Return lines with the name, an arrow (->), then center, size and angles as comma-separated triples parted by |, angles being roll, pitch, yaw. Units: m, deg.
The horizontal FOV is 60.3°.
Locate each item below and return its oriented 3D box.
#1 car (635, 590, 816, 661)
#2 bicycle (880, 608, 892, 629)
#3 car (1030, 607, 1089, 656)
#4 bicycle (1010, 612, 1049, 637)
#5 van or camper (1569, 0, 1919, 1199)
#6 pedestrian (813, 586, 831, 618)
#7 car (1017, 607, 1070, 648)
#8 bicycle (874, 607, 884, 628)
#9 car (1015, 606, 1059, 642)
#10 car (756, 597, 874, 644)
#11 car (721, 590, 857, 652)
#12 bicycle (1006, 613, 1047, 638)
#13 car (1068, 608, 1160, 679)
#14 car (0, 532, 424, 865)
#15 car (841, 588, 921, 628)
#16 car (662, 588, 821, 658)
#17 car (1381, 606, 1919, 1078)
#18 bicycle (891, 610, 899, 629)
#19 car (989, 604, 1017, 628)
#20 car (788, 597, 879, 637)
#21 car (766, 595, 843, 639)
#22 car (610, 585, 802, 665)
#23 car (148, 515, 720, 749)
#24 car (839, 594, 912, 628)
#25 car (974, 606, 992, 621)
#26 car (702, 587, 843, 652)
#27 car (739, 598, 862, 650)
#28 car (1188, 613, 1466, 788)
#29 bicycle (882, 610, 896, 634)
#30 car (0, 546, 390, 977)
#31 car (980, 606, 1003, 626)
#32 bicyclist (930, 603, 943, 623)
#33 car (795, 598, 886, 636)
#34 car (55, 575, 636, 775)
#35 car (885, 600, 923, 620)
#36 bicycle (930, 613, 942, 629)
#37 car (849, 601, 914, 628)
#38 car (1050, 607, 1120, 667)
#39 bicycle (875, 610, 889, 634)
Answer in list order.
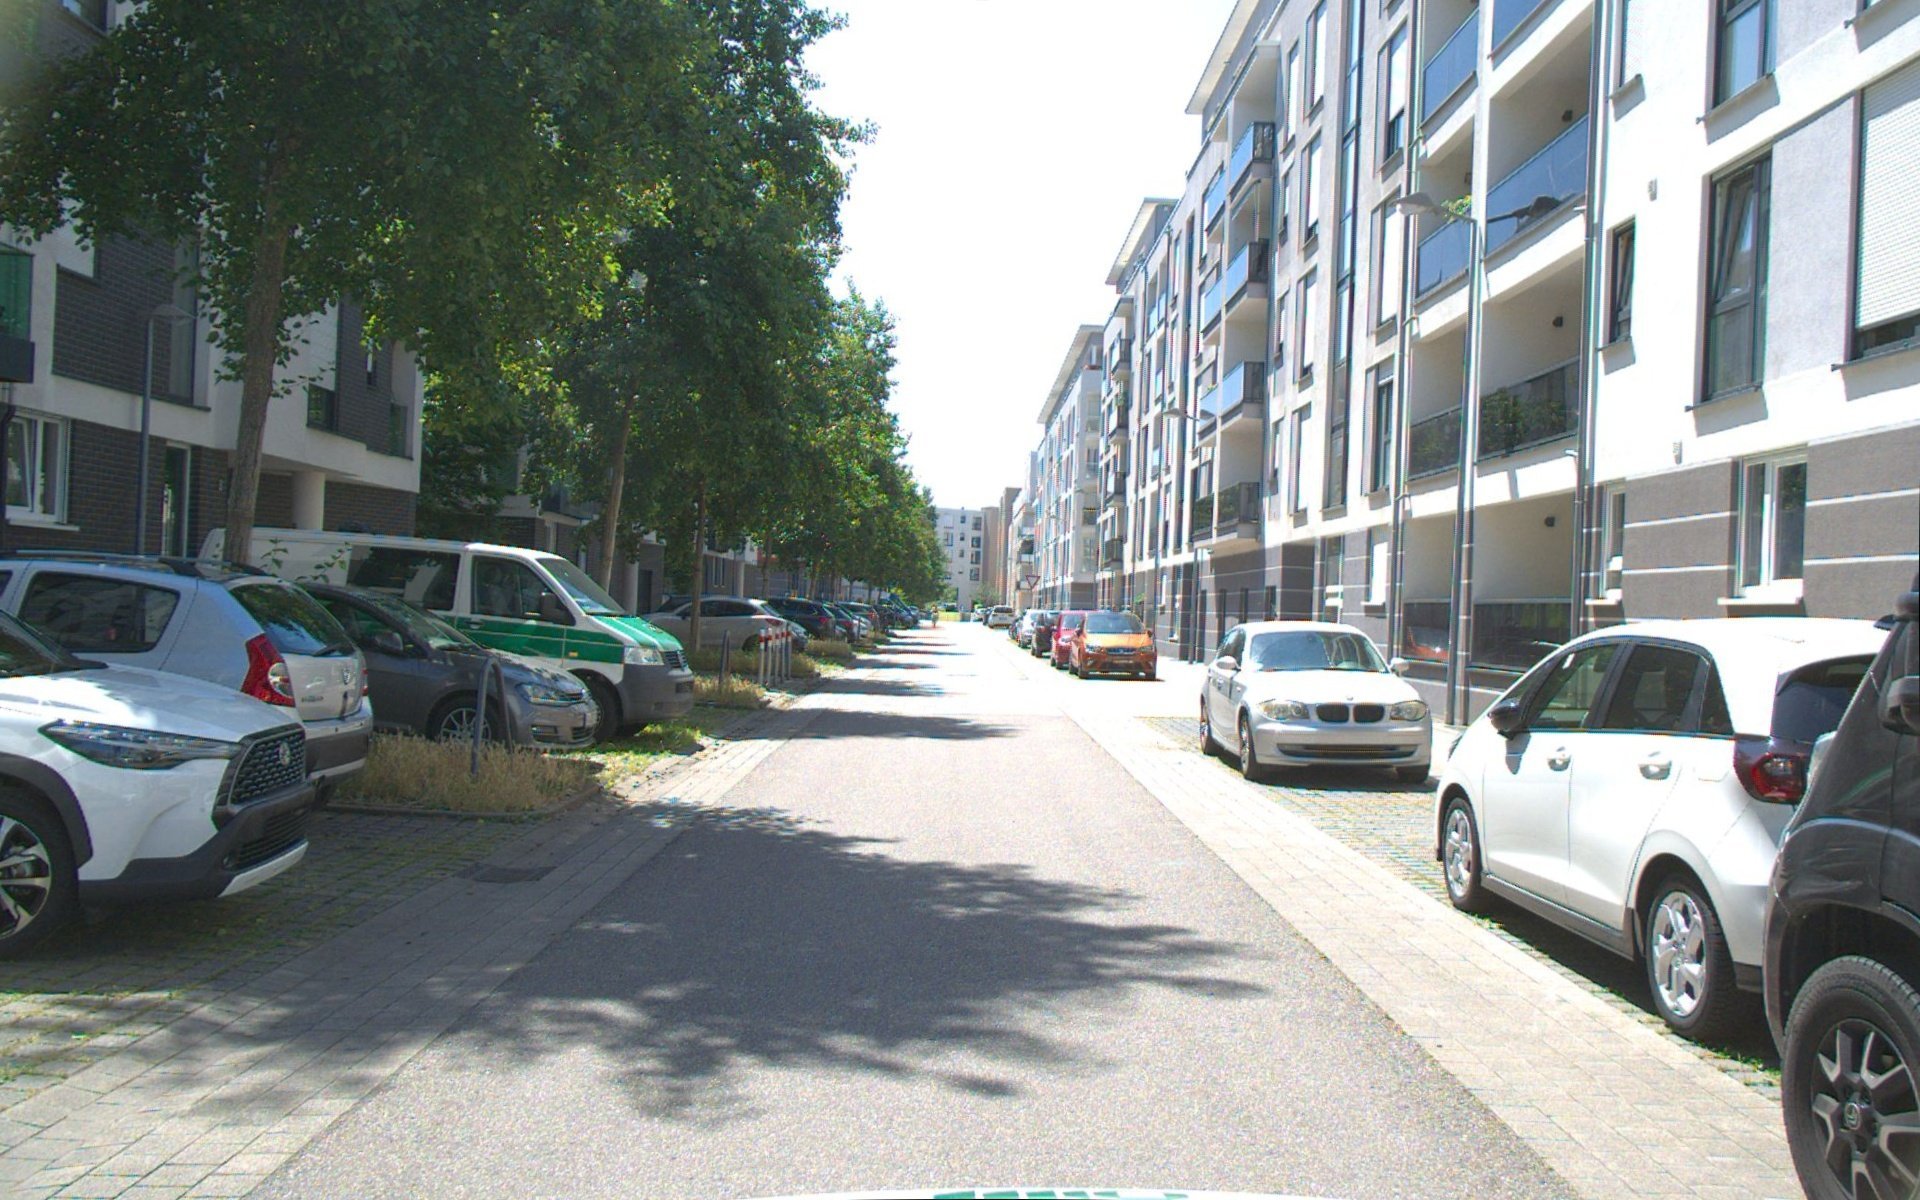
car -> -5.864, 0.629, 41.757 | 4.229, 1.501, 1.792 | 4, 0, -1
bicycle -> -4.605, 1.149, 102.814 | 0.559, 1.194, 1.766 | 5, 1, -7
car -> 3.153, 0.988, 53.032 | 1.609, 1.488, 4.117 | 0, 0, -1
bicycle -> 3.311, 1.190, 79.069 | 1.806, 1.168, 0.458 | 1, -1, -20
van or camper -> 3.233, 0.105, 1.263 | 2.389, 2.957, 7.824 | 3, -1, -1
pedestrian -> -9.006, 0.153, 108.310 | 0.988, 2.049, 1.130 | 1, 0, 3
car -> 3.219, 1.041, 64.420 | 1.796, 1.531, 4.350 | 0, 0, 0
bicycle -> -5.028, 1.104, 102.818 | 0.425, 1.225, 1.700 | 3, 1, 1
car -> 3.365, 1.020, 72.739 | 1.703, 1.511, 4.228 | 1, 0, 0
car -> -5.338, 0.748, 61.417 | 4.273, 1.740, 1.999 | 0, 0, -3
car -> -5.311, 0.663, 51.758 | 3.905, 1.679, 1.918 | 3, 0, 1
bicycle -> 3.178, 1.216, 79.434 | 1.882, 1.153, 0.609 | 1, -1, 9
car -> 3.457, 0.941, 37.730 | 1.702, 1.513, 4.258 | 1, 0, 0
car -> -5.351, 0.482, 9.877 | 3.605, 1.705, 1.851 | 3, 0, -1
car -> -5.995, 0.593, 125.548 | 5.901, 2.865, 2.605 | 1, 0, 0
car -> -5.817, 0.600, 44.319 | 3.906, 1.619, 1.884 | 3, 0, 0
car -> 3.424, 0.802, 7.547 | 1.771, 1.531, 4.259 | 1, 0, -2
bicycle -> -4.028, 1.223, 103.036 | 0.456, 1.161, 1.925 | 2, 0, -2
car -> 3.106, 1.141, 120.178 | 1.956, 1.686, 4.115 | 1, 0, 0
car -> -5.642, 0.754, 73.995 | 3.858, 1.580, 1.872 | 3, 0, -1
car -> -6.241, 0.684, 66.829 | 2.874, 1.526, 1.848 | 4, 0, -2
car -> -5.977, 0.589, 39.311 | 4.167, 1.544, 1.924 | 4, 0, -1
car -> -5.360, 0.318, 17.417 | 5.231, 2.147, 2.187 | 2, 0, 1
car -> -6.108, 0.774, 120.114 | 5.040, 2.156, 2.311 | 3, 0, -1
car -> 2.607, 1.549, 188.832 | 1.953, 1.704, 3.999 | 2, 0, -1
car -> -5.542, 0.579, 49.231 | 3.906, 1.658, 1.933 | 3, 0, 0
car -> -5.215, 0.783, 54.402 | 3.896, 1.470, 1.774 | 3, -1, -4
car -> 3.486, 0.890, 16.561 | 1.808, 1.441, 4.426 | 2, 0, 1
bicycle -> -3.626, 1.094, 84.338 | 0.364, 1.201, 1.815 | 1, 0, -12
car -> -5.098, 0.516, 7.241 | 4.470, 1.621, 1.964 | 4, -1, -6
car -> 2.686, 1.329, 140.283 | 1.721, 1.579, 4.001 | 2, 0, 3
bicyclist -> -1.752, 0.952, 121.910 | 0.934, 1.485, 0.799 | 2, 0, -1
car -> -5.559, 0.801, 76.891 | 4.098, 1.512, 1.957 | 3, -2, -4
car -> -5.220, 0.628, 14.574 | 4.332, 1.516, 1.999 | 2, 0, -2
car -> -6.223, 1.086, 184.380 | 3.902, 2.049, 2.001 | 2, 0, 6
bicycle -> -1.776, 1.520, 122.018 | 0.880, 1.149, 2.039 | 2, 0, -1
car -> -5.341, 1.016, 112.932 | 4.294, 1.541, 2.075 | 4, 0, 0
car -> 3.232, 0.934, 43.264 | 1.562, 1.512, 3.675 | 0, 0, 0
bicycle -> -3.981, 1.112, 84.307 | 0.426, 1.147, 1.973 | 1, 0, -12
